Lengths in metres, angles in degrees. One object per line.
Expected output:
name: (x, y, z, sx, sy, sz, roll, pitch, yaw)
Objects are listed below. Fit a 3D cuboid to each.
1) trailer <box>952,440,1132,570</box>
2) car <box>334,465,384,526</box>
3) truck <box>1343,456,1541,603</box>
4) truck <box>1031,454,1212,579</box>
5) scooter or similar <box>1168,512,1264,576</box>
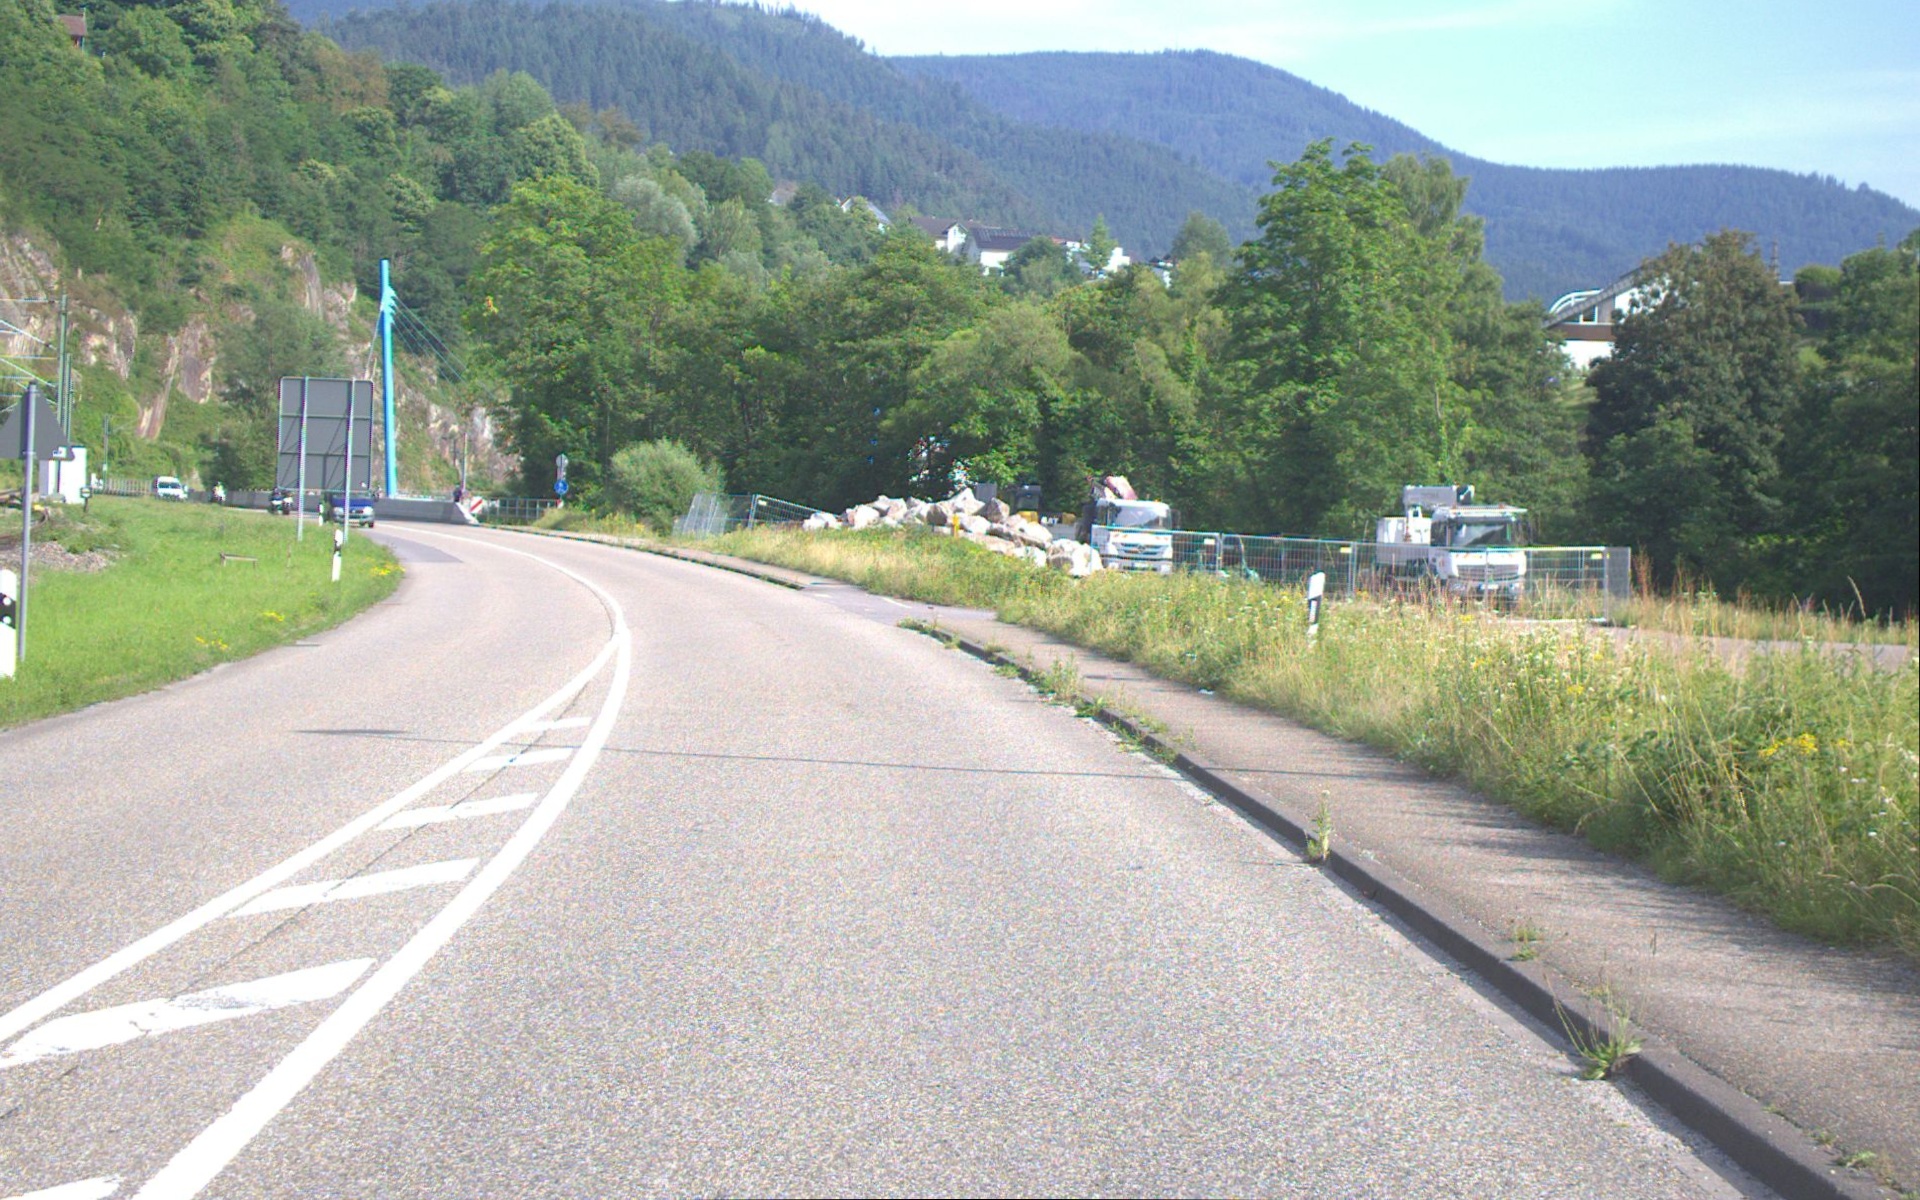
trailer: (2.782, -3.351, 121.565, 3.364, 4.259, 9.913, 3, 1, -16)
car: (-26.541, -4.628, 151.749, 2.126, 2.606, 5.481, 0, 2, -10)
truck: (13.345, -2.020, 96.016, 3.102, 3.769, 8.647, 3, 1, -7)
truck: (5.203, -2.807, 112.641, 3.102, 3.769, 8.648, 3, 2, -16)
scooter or similar: (8.336, -1.843, 112.151, 1.993, 2.006, 4.002, 1, 2, -13)
